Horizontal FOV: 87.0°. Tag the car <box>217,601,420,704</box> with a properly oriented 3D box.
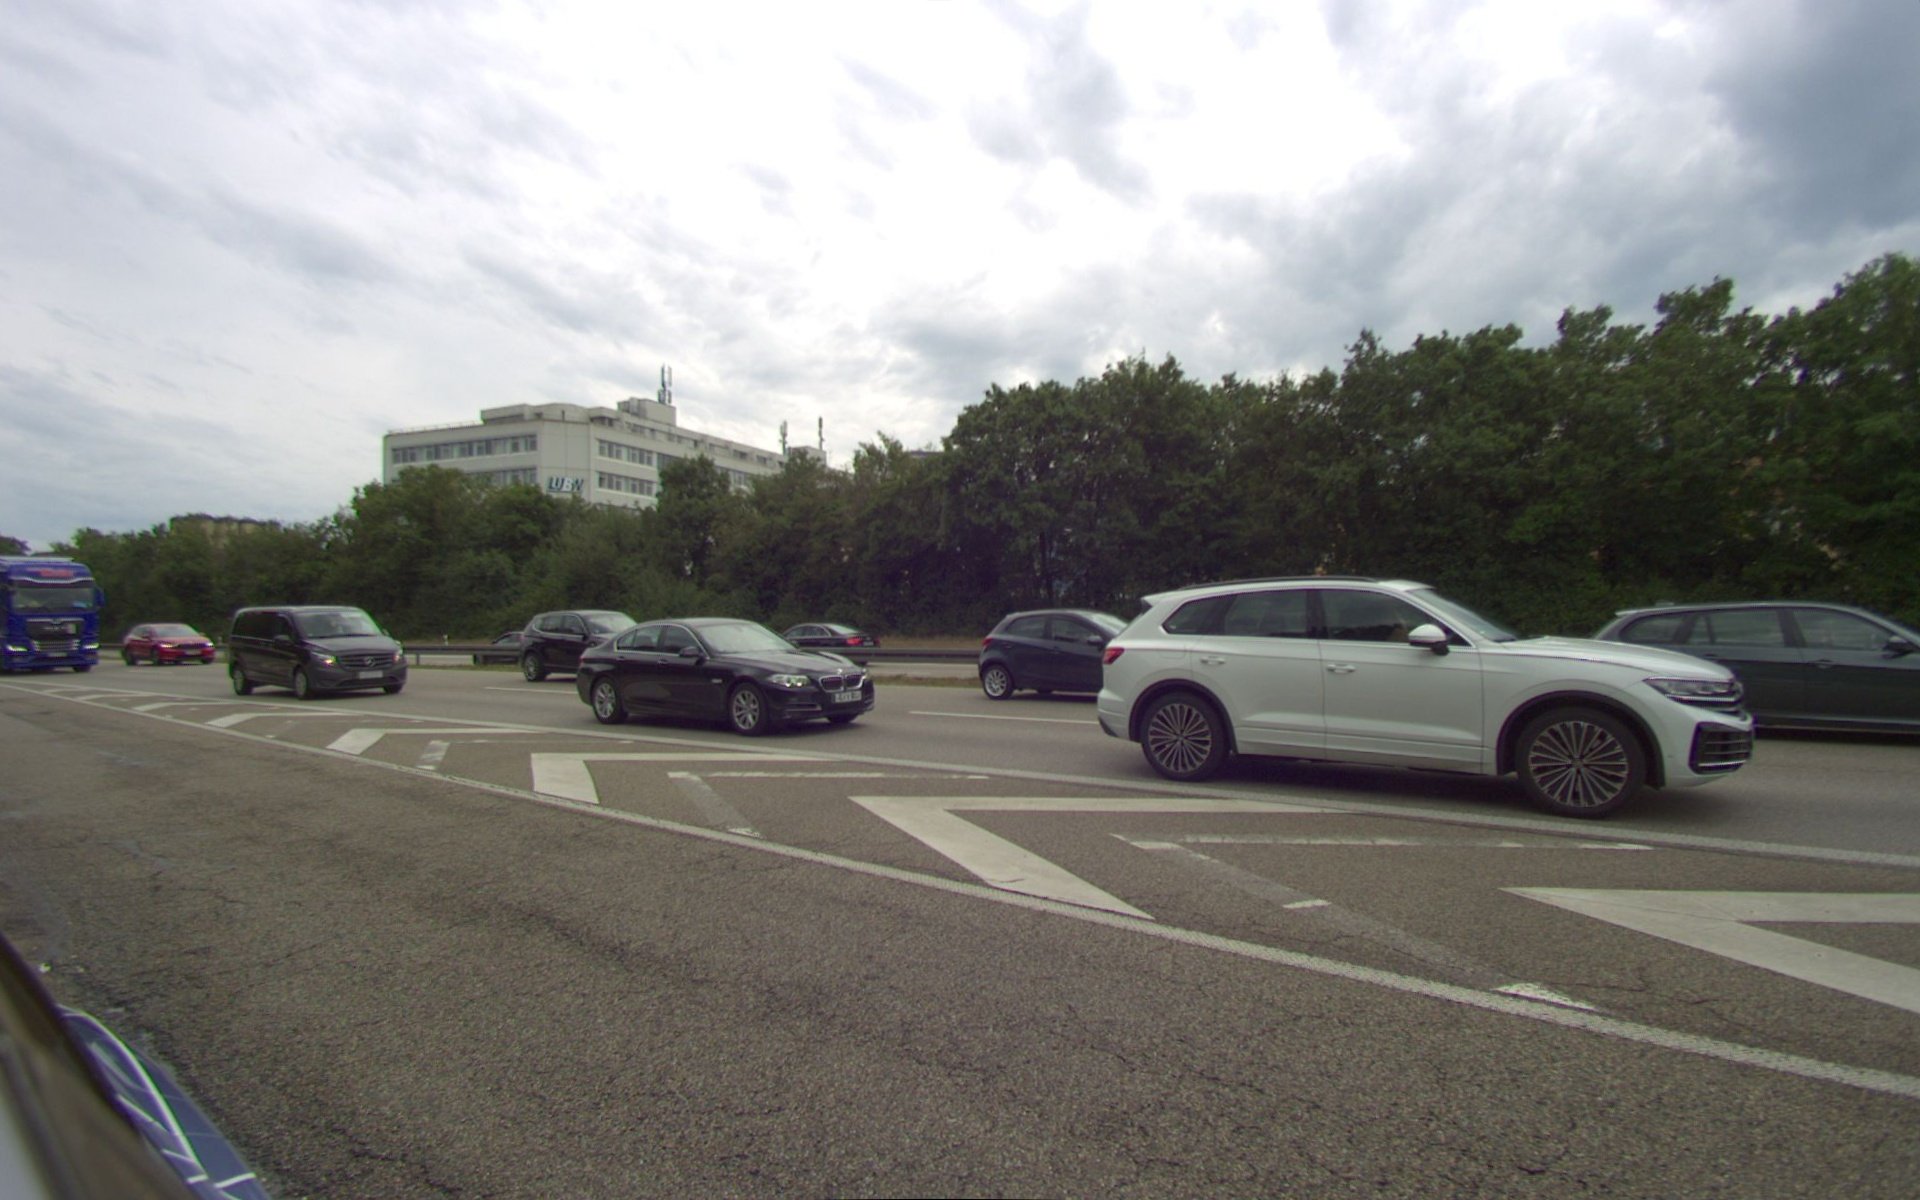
[{"bbox_3d":[-13.684,1.069,21.470,5.071,1.920,1.975,-2,0,37],"label":"car"}]

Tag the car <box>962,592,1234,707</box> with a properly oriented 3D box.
[{"bbox_3d":[2.130,0.757,16.106,3.990,1.624,1.631,-2,-1,35],"label":"car"}]

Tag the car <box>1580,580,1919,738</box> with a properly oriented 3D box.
[{"bbox_3d":[9.137,0.541,10.260,4.695,1.459,1.697,-1,0,39],"label":"car"}]

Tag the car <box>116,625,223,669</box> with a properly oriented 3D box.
[{"bbox_3d":[-31.011,1.831,39.663,4.776,1.631,1.977,-2,-2,35],"label":"car"}]

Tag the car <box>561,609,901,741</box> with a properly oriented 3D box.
[{"bbox_3d":[-3.240,0.900,13.793,4.822,1.471,1.830,-1,0,37],"label":"car"}]

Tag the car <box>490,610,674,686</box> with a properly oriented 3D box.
[{"bbox_3d":[-9.015,1.101,23.984,4.642,1.625,1.843,-2,-1,36],"label":"car"}]

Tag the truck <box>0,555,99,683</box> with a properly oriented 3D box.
[{"bbox_3d":[-32.728,0.640,35.118,6.569,4.073,2.541,-1,0,33],"label":"truck"}]

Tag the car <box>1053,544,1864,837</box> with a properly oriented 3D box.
[{"bbox_3d":[3.548,0.581,8.163,5.370,1.673,1.893,-2,-1,37],"label":"car"}]

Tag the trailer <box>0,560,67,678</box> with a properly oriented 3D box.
[{"bbox_3d":[-38.378,0.749,38.718,13.419,4.053,2.606,-1,0,32],"label":"trailer"}]
